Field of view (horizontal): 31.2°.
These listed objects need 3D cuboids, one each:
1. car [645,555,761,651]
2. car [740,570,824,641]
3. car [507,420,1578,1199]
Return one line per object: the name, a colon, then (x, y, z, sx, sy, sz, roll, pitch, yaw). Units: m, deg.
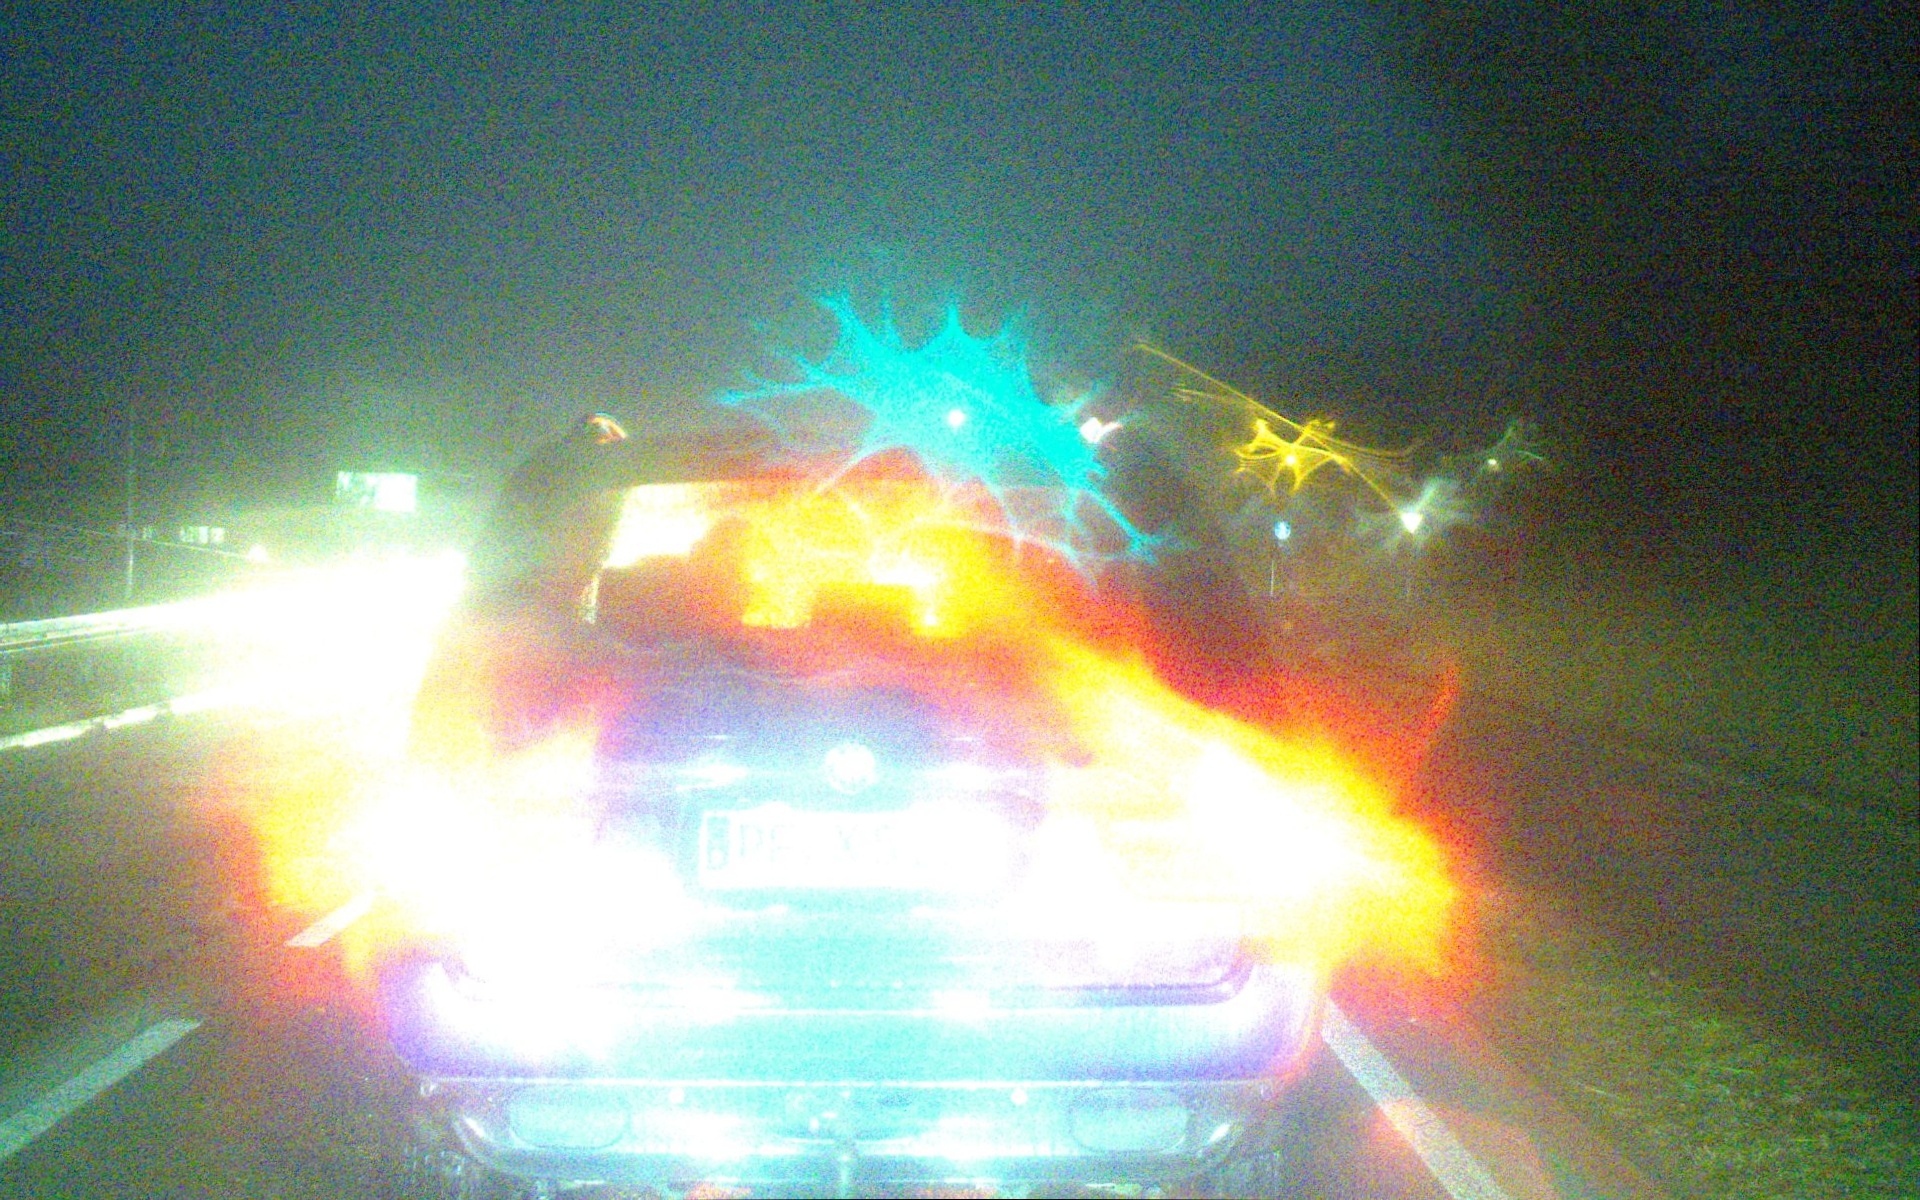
car: (-4.679, 0.028, 63.019, 1.951, 1.650, 4.125, -1, 1, -2)
car: (-4.170, 0.109, 80.880, 1.837, 1.540, 4.257, 1, 1, -1)
car: (0.125, 0.527, 7.753, 1.775, 1.706, 4.000, 1, 1, 0)
